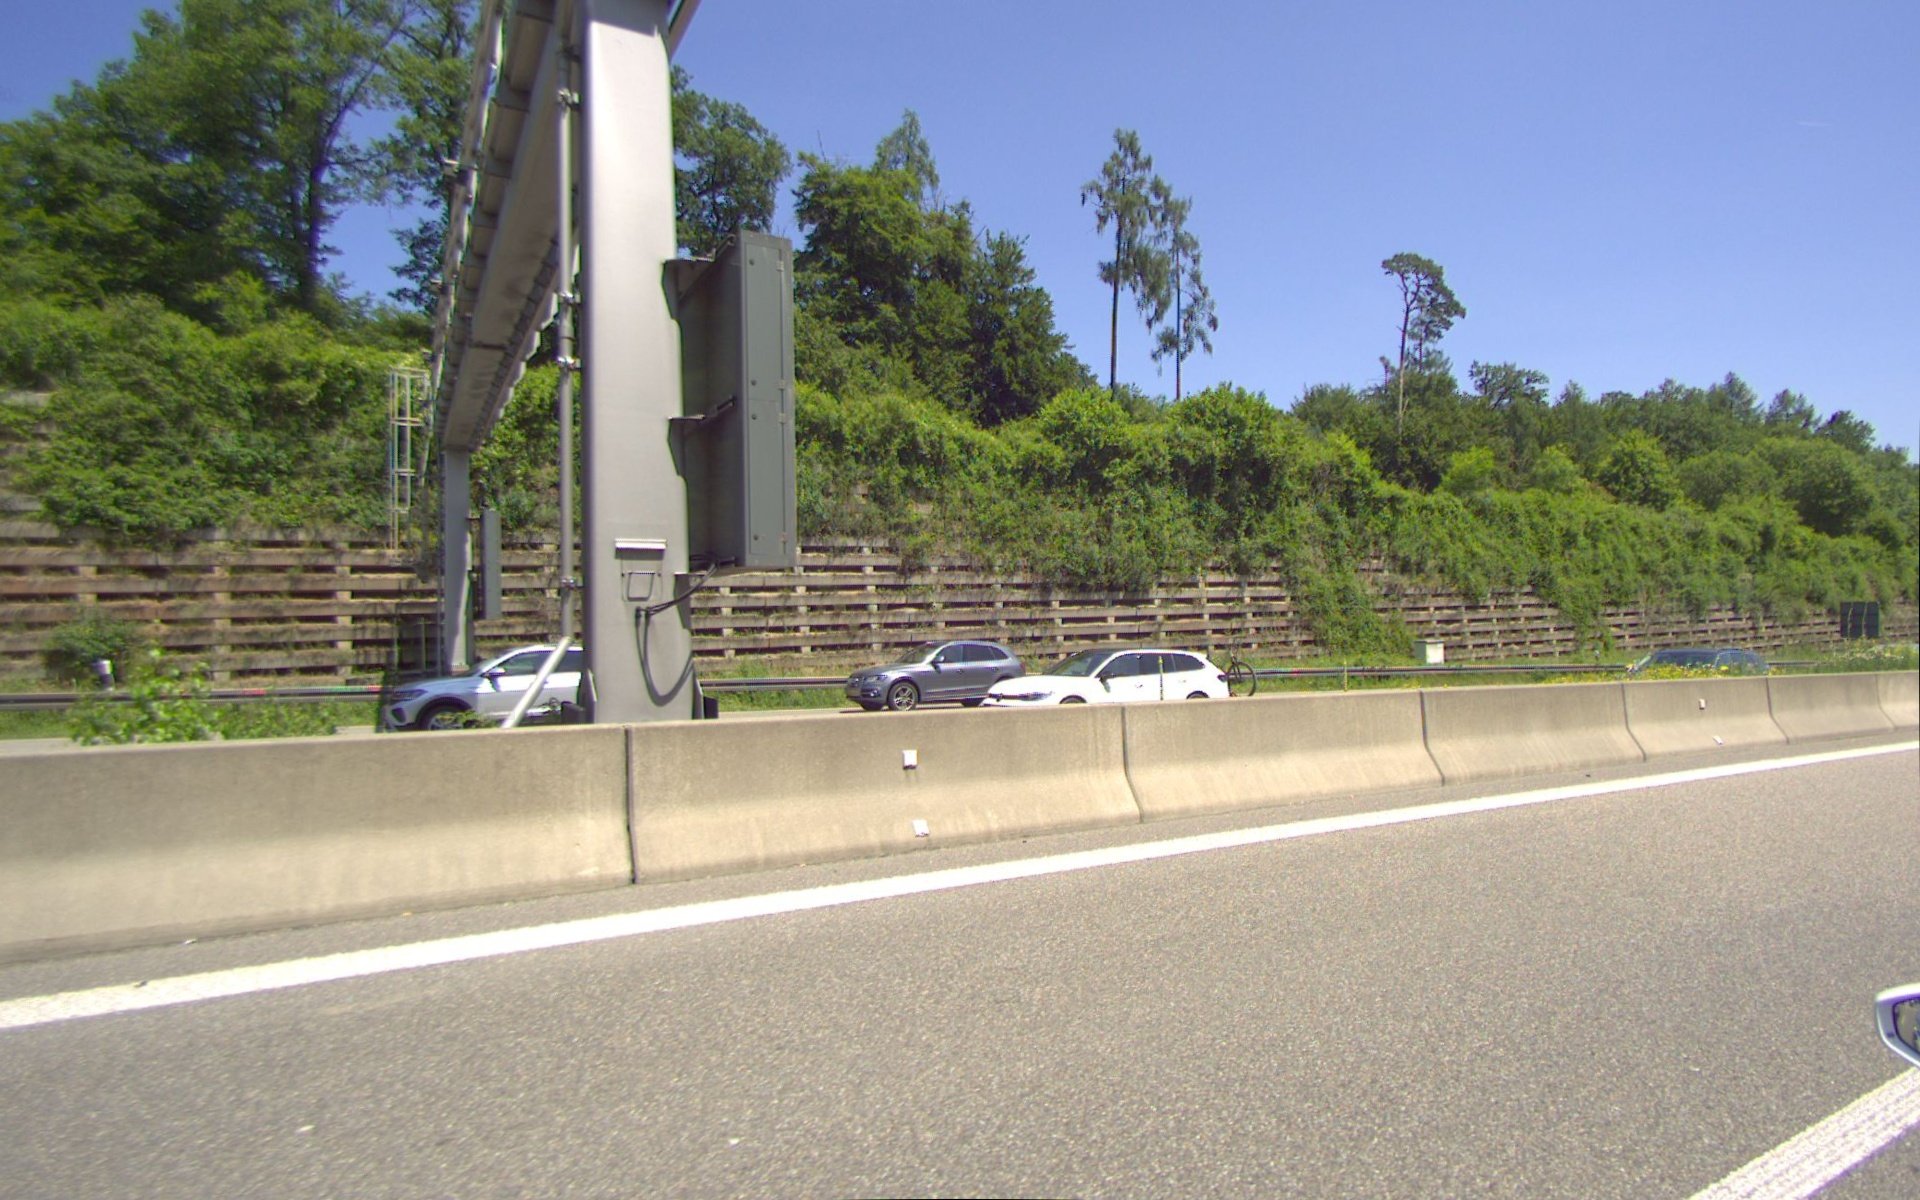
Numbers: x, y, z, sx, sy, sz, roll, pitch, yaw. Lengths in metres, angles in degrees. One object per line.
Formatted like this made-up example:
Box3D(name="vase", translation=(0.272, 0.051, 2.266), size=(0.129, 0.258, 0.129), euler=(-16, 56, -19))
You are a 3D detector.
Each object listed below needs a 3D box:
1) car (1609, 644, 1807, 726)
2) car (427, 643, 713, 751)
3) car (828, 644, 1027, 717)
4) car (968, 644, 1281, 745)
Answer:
Box3D(name="car", translation=(16.326, 1.774, 21.904), size=(4.320, 1.546, 1.890), euler=(0, -2, -30))
Box3D(name="car", translation=(-6.571, 1.540, 17.019), size=(4.320, 1.546, 1.890), euler=(0, -2, -30))
Box3D(name="car", translation=(-0.756, 1.867, 24.139), size=(4.423, 1.515, 1.890), euler=(0, -2, -30))
Box3D(name="car", translation=(3.115, 1.604, 18.397), size=(5.820, 1.515, 1.951), euler=(1, -2, -32))
